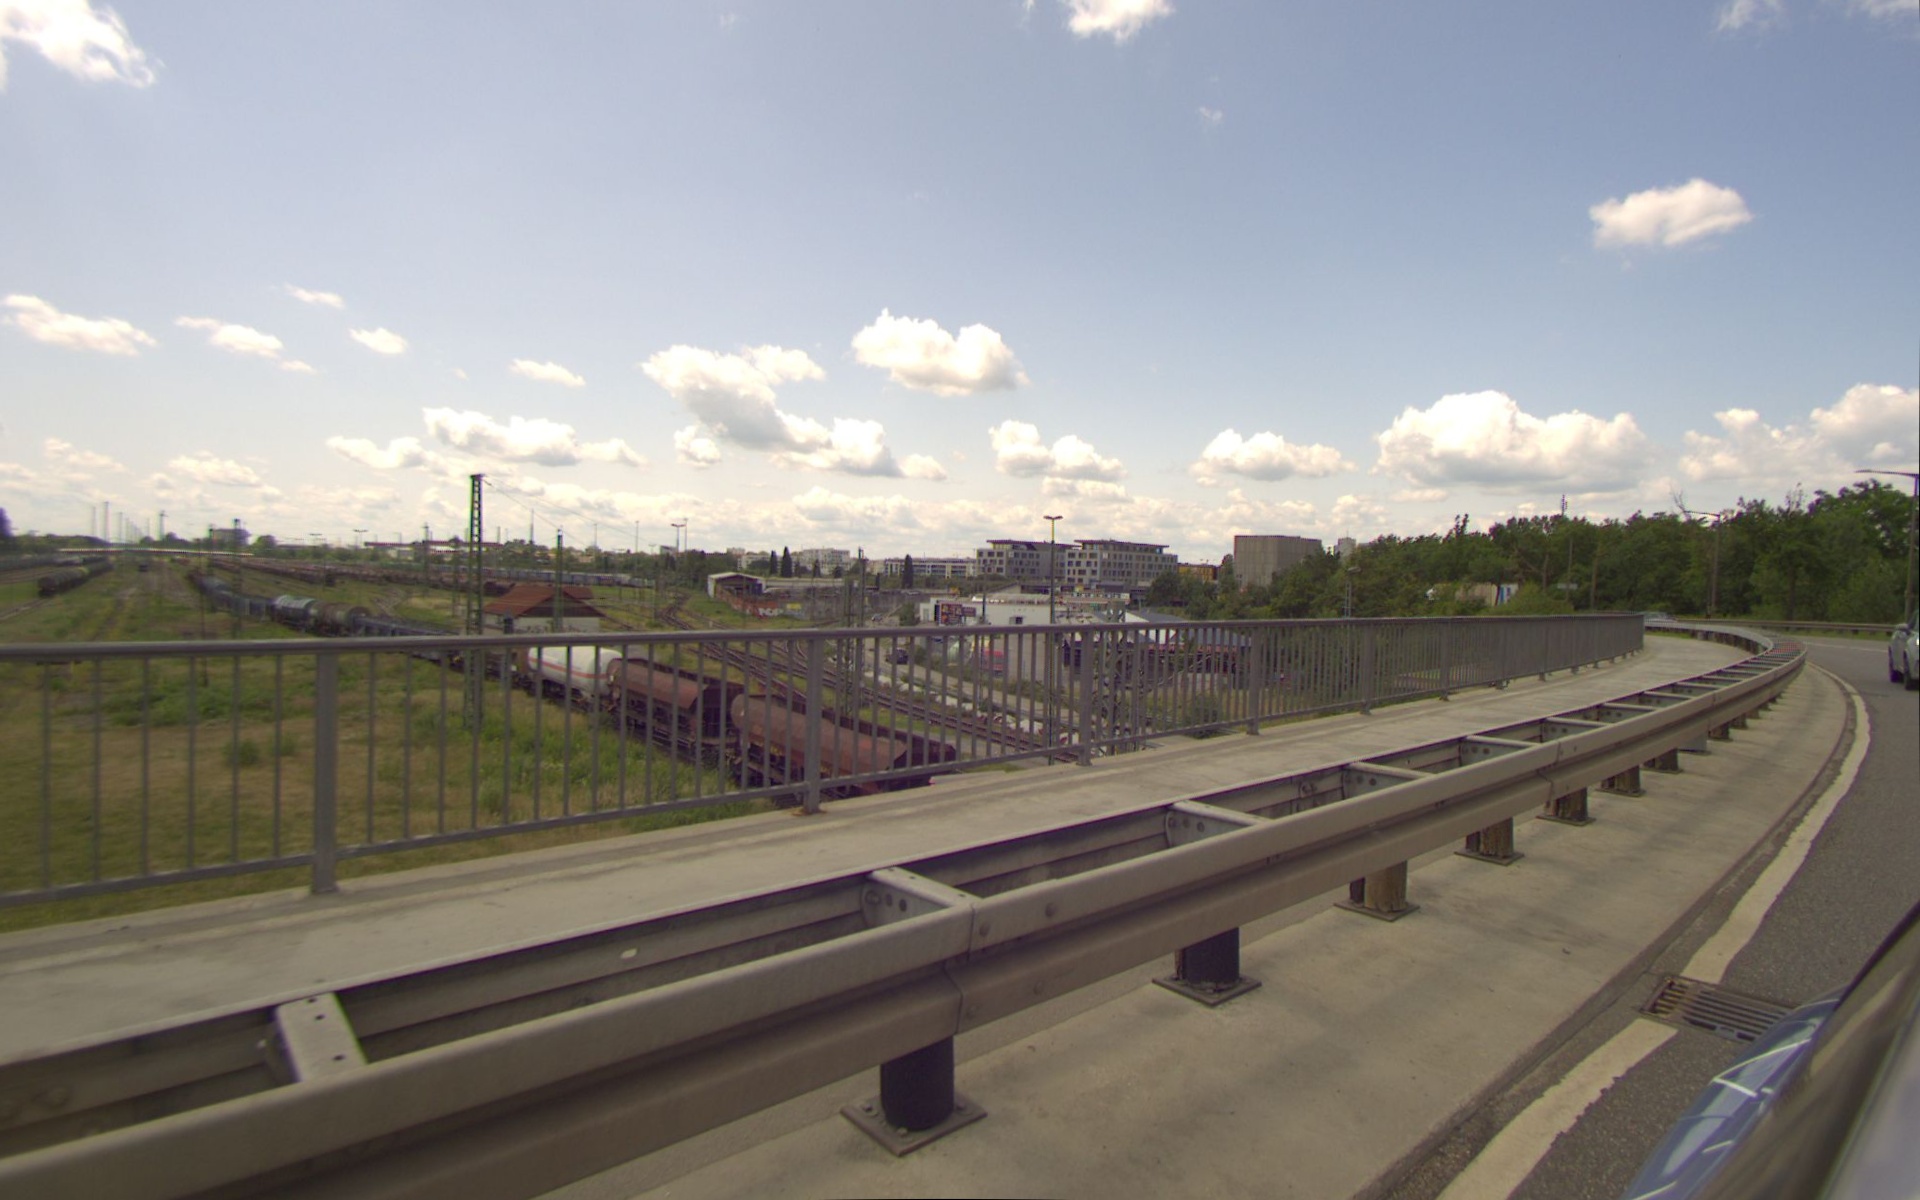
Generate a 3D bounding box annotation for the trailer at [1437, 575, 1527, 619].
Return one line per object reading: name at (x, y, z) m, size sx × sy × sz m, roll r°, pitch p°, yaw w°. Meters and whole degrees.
trailer at (55.177, -0.316, 107.588) m, size 2.665 × 4.334 × 14.222 m, roll 0°, pitch 0°, yaw 2°

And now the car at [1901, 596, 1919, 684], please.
car at (18.772, 0.707, 18.697) m, size 1.821 × 1.544 × 3.942 m, roll 0°, pitch 0°, yaw 40°

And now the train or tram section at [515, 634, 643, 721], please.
train or tram section at (-26.758, 5.047, 70.195) m, size 3.161 × 4.202 × 16.952 m, roll -3°, pitch 4°, yaw -38°

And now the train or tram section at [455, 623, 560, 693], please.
train or tram section at (-37.726, 4.495, 83.671) m, size 3.157 × 4.202 × 17.677 m, roll -3°, pitch 4°, yaw -40°

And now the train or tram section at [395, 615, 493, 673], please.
train or tram section at (-49.615, 3.989, 96.836) m, size 3.161 × 4.202 × 17.653 m, roll -4°, pitch 4°, yaw -44°

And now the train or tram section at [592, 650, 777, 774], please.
train or tram section at (-15.812, 5.665, 55.837) m, size 3.161 × 4.202 × 18.897 m, roll -3°, pitch 4°, yaw -36°

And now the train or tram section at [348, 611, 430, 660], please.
train or tram section at (-61.485, 3.616, 108.721) m, size 15.916 × 4.202 × 3.163 m, roll 2°, pitch 4°, yaw 44°

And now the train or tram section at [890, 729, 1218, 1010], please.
train or tram section at (1.947, 6.867, 28.881) m, size 3.067 × 4.202 × 12.086 m, roll -3°, pitch 3°, yaw -29°

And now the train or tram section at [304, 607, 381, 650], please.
train or tram section at (-73.142, 3.231, 119.598) m, size 15.903 × 4.202 × 3.166 m, roll 2°, pitch 4°, yaw 42°

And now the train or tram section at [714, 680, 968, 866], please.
train or tram section at (-5.608, 6.331, 41.232) m, size 3.081 × 4.202 × 16.618 m, roll -3°, pitch 4°, yaw -33°
